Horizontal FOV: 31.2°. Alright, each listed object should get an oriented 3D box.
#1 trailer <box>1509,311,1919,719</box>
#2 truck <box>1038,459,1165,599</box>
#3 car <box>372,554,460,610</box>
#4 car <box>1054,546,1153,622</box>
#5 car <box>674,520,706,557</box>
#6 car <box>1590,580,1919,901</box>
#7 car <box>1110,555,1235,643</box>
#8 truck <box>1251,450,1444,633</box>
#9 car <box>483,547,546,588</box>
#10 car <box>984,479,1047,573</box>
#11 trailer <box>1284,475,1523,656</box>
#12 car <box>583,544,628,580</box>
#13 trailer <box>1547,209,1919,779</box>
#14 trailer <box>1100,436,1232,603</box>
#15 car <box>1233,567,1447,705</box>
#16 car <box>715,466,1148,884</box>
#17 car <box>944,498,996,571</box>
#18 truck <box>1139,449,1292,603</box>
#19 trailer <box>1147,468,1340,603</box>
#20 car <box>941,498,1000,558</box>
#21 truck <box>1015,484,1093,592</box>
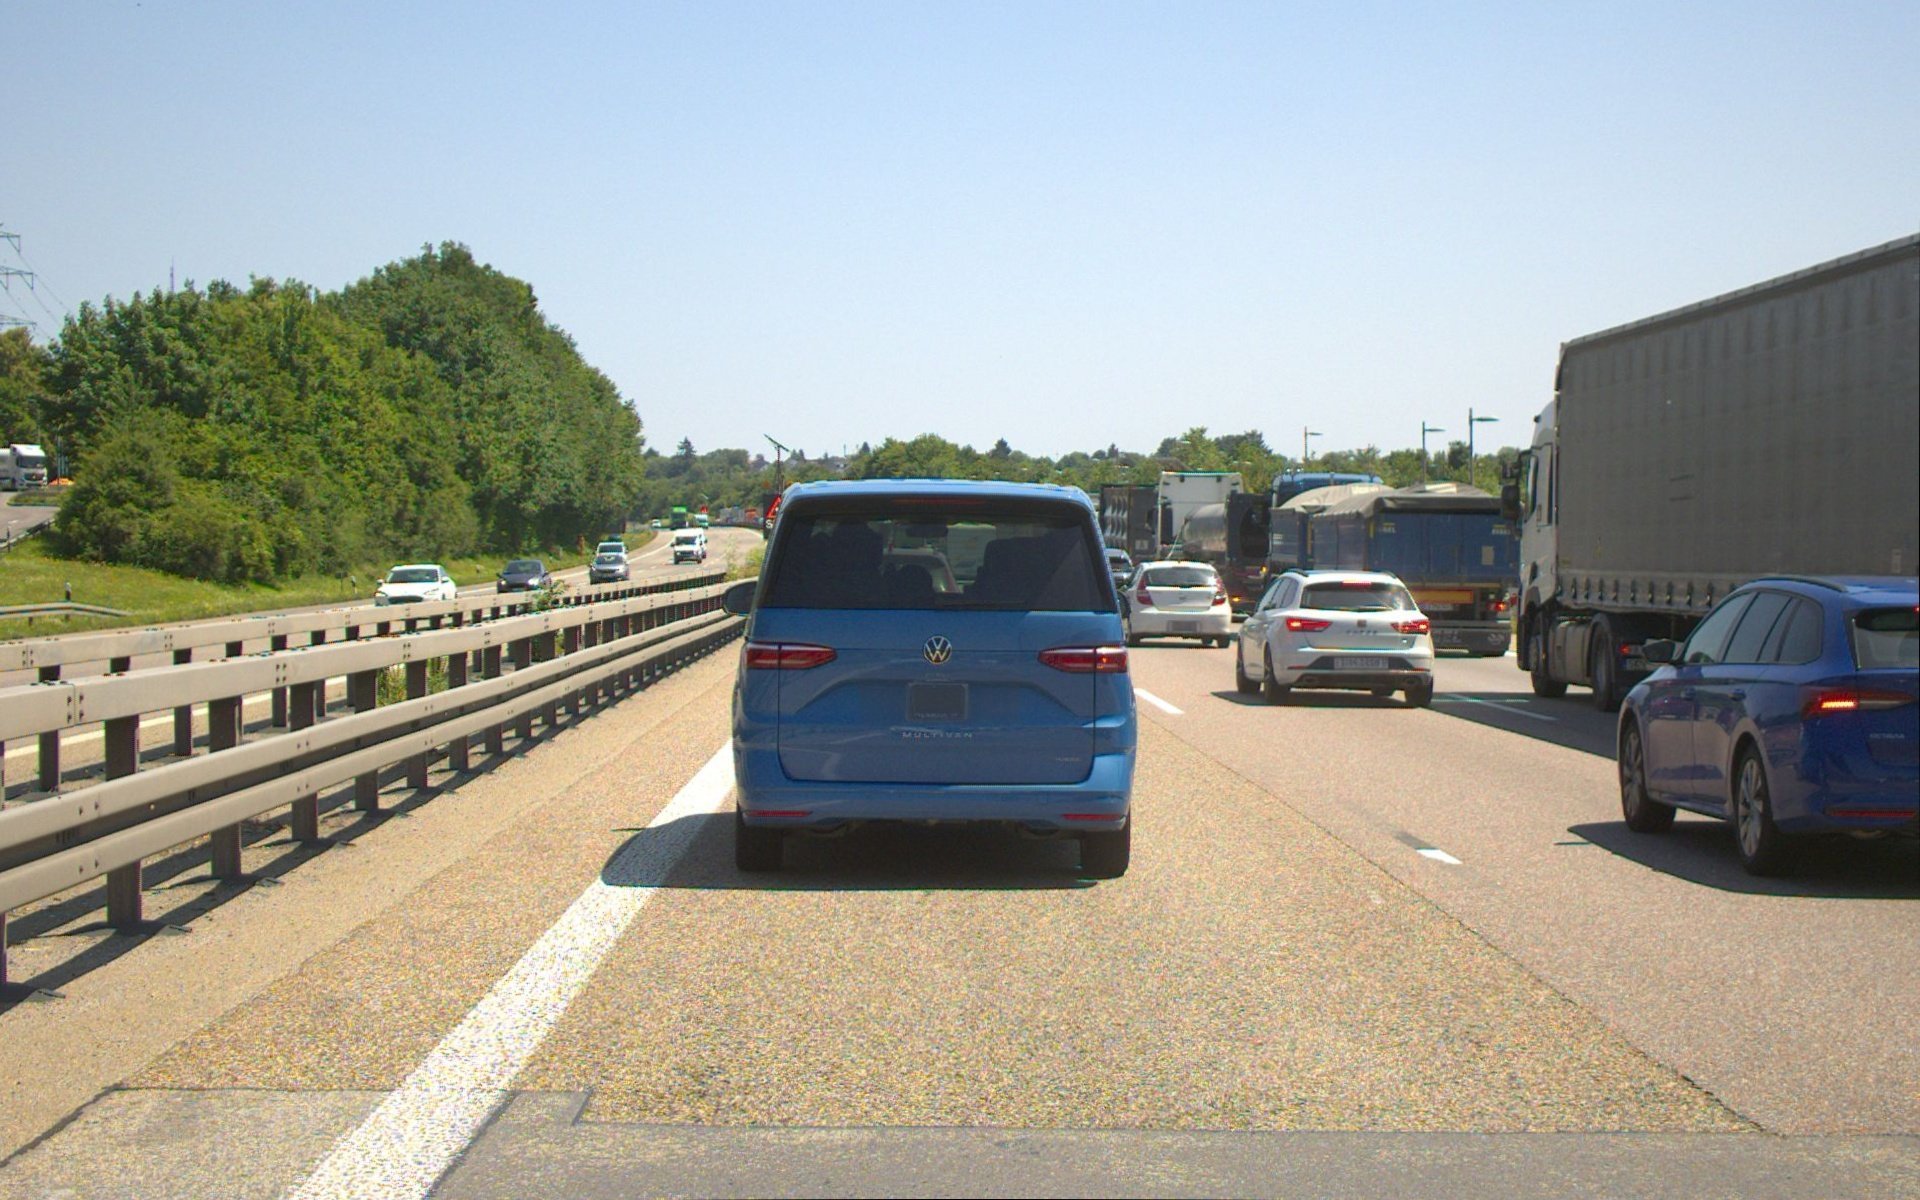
[{"bbox_3d":[8.040,-0.904,37.452,2.924,4.030,6.411,1,1,-1],"label":"trailer"},{"bbox_3d":[5.515,-2.703,137.217,3.621,5.195,15.690,1,0,-3],"label":"truck"},{"bbox_3d":[-14.683,-0.496,92.941,1.850,1.462,4.305,-1,0,-2],"label":"car"},{"bbox_3d":[2.991,-0.338,72.268,1.781,1.519,4.000,1,0,-1],"label":"car"},{"bbox_3d":[-20.418,-4.625,259.725,2.052,2.642,5.839,2,0,-2],"label":"car"},{"bbox_3d":[4.548,0.641,17.742,1.706,1.436,4.428,1,0,-1],"label":"car"},{"bbox_3d":[3.694,-0.021,60.343,1.840,1.449,4.000,1,0,-1],"label":"car"},{"bbox_3d":[7.451,-1.183,67.013,2.743,3.300,7.133,1,2,-1],"label":"truck"},{"bbox_3d":[-16.134,-1.169,124.747,1.876,1.441,4.145,-1,0,-2],"label":"car"},{"bbox_3d":[3.191,-4.226,199.399,3.218,5.239,8.144,1,0,-1],"label":"car"},{"bbox_3d":[7.539,-0.685,59.636,2.743,2.827,9.116,1,2,-1],"label":"trailer"},{"bbox_3d":[-16.585,-1.772,160.905,1.773,1.625,3.951,1,0,-2],"label":"car"},{"bbox_3d":[8.128,-0.826,31.255,2.962,4.035,13.753,1,1,-1],"label":"trailer"},{"bbox_3d":[6.679,-2.523,113.653,3.646,5.119,13.075,1,0,1],"label":"trailer"},{"bbox_3d":[4.076,0.352,37.421,1.867,1.356,4.000,1,1,0],"label":"car"},{"bbox_3d":[-0.123,0.331,17.439,1.901,1.831,4.000,1,0,0],"label":"car"},{"bbox_3d":[0.721,-4.883,257.414,3.218,5.239,8.145,1,0,-3],"label":"car"},{"bbox_3d":[7.120,-2.020,97.020,3.626,4.080,7.524,1,0,0],"label":"truck"},{"bbox_3d":[7.062,-1.538,88.405,3.646,3.068,15.772,1,0,0],"label":"trailer"},{"bbox_3d":[0.485,-3.382,162.420,2.550,2.708,5.621,1,0,-1],"label":"car"},{"bbox_3d":[4.438,-2.867,164.160,3.068,4.903,10.691,1,0,-1],"label":"truck"}]
